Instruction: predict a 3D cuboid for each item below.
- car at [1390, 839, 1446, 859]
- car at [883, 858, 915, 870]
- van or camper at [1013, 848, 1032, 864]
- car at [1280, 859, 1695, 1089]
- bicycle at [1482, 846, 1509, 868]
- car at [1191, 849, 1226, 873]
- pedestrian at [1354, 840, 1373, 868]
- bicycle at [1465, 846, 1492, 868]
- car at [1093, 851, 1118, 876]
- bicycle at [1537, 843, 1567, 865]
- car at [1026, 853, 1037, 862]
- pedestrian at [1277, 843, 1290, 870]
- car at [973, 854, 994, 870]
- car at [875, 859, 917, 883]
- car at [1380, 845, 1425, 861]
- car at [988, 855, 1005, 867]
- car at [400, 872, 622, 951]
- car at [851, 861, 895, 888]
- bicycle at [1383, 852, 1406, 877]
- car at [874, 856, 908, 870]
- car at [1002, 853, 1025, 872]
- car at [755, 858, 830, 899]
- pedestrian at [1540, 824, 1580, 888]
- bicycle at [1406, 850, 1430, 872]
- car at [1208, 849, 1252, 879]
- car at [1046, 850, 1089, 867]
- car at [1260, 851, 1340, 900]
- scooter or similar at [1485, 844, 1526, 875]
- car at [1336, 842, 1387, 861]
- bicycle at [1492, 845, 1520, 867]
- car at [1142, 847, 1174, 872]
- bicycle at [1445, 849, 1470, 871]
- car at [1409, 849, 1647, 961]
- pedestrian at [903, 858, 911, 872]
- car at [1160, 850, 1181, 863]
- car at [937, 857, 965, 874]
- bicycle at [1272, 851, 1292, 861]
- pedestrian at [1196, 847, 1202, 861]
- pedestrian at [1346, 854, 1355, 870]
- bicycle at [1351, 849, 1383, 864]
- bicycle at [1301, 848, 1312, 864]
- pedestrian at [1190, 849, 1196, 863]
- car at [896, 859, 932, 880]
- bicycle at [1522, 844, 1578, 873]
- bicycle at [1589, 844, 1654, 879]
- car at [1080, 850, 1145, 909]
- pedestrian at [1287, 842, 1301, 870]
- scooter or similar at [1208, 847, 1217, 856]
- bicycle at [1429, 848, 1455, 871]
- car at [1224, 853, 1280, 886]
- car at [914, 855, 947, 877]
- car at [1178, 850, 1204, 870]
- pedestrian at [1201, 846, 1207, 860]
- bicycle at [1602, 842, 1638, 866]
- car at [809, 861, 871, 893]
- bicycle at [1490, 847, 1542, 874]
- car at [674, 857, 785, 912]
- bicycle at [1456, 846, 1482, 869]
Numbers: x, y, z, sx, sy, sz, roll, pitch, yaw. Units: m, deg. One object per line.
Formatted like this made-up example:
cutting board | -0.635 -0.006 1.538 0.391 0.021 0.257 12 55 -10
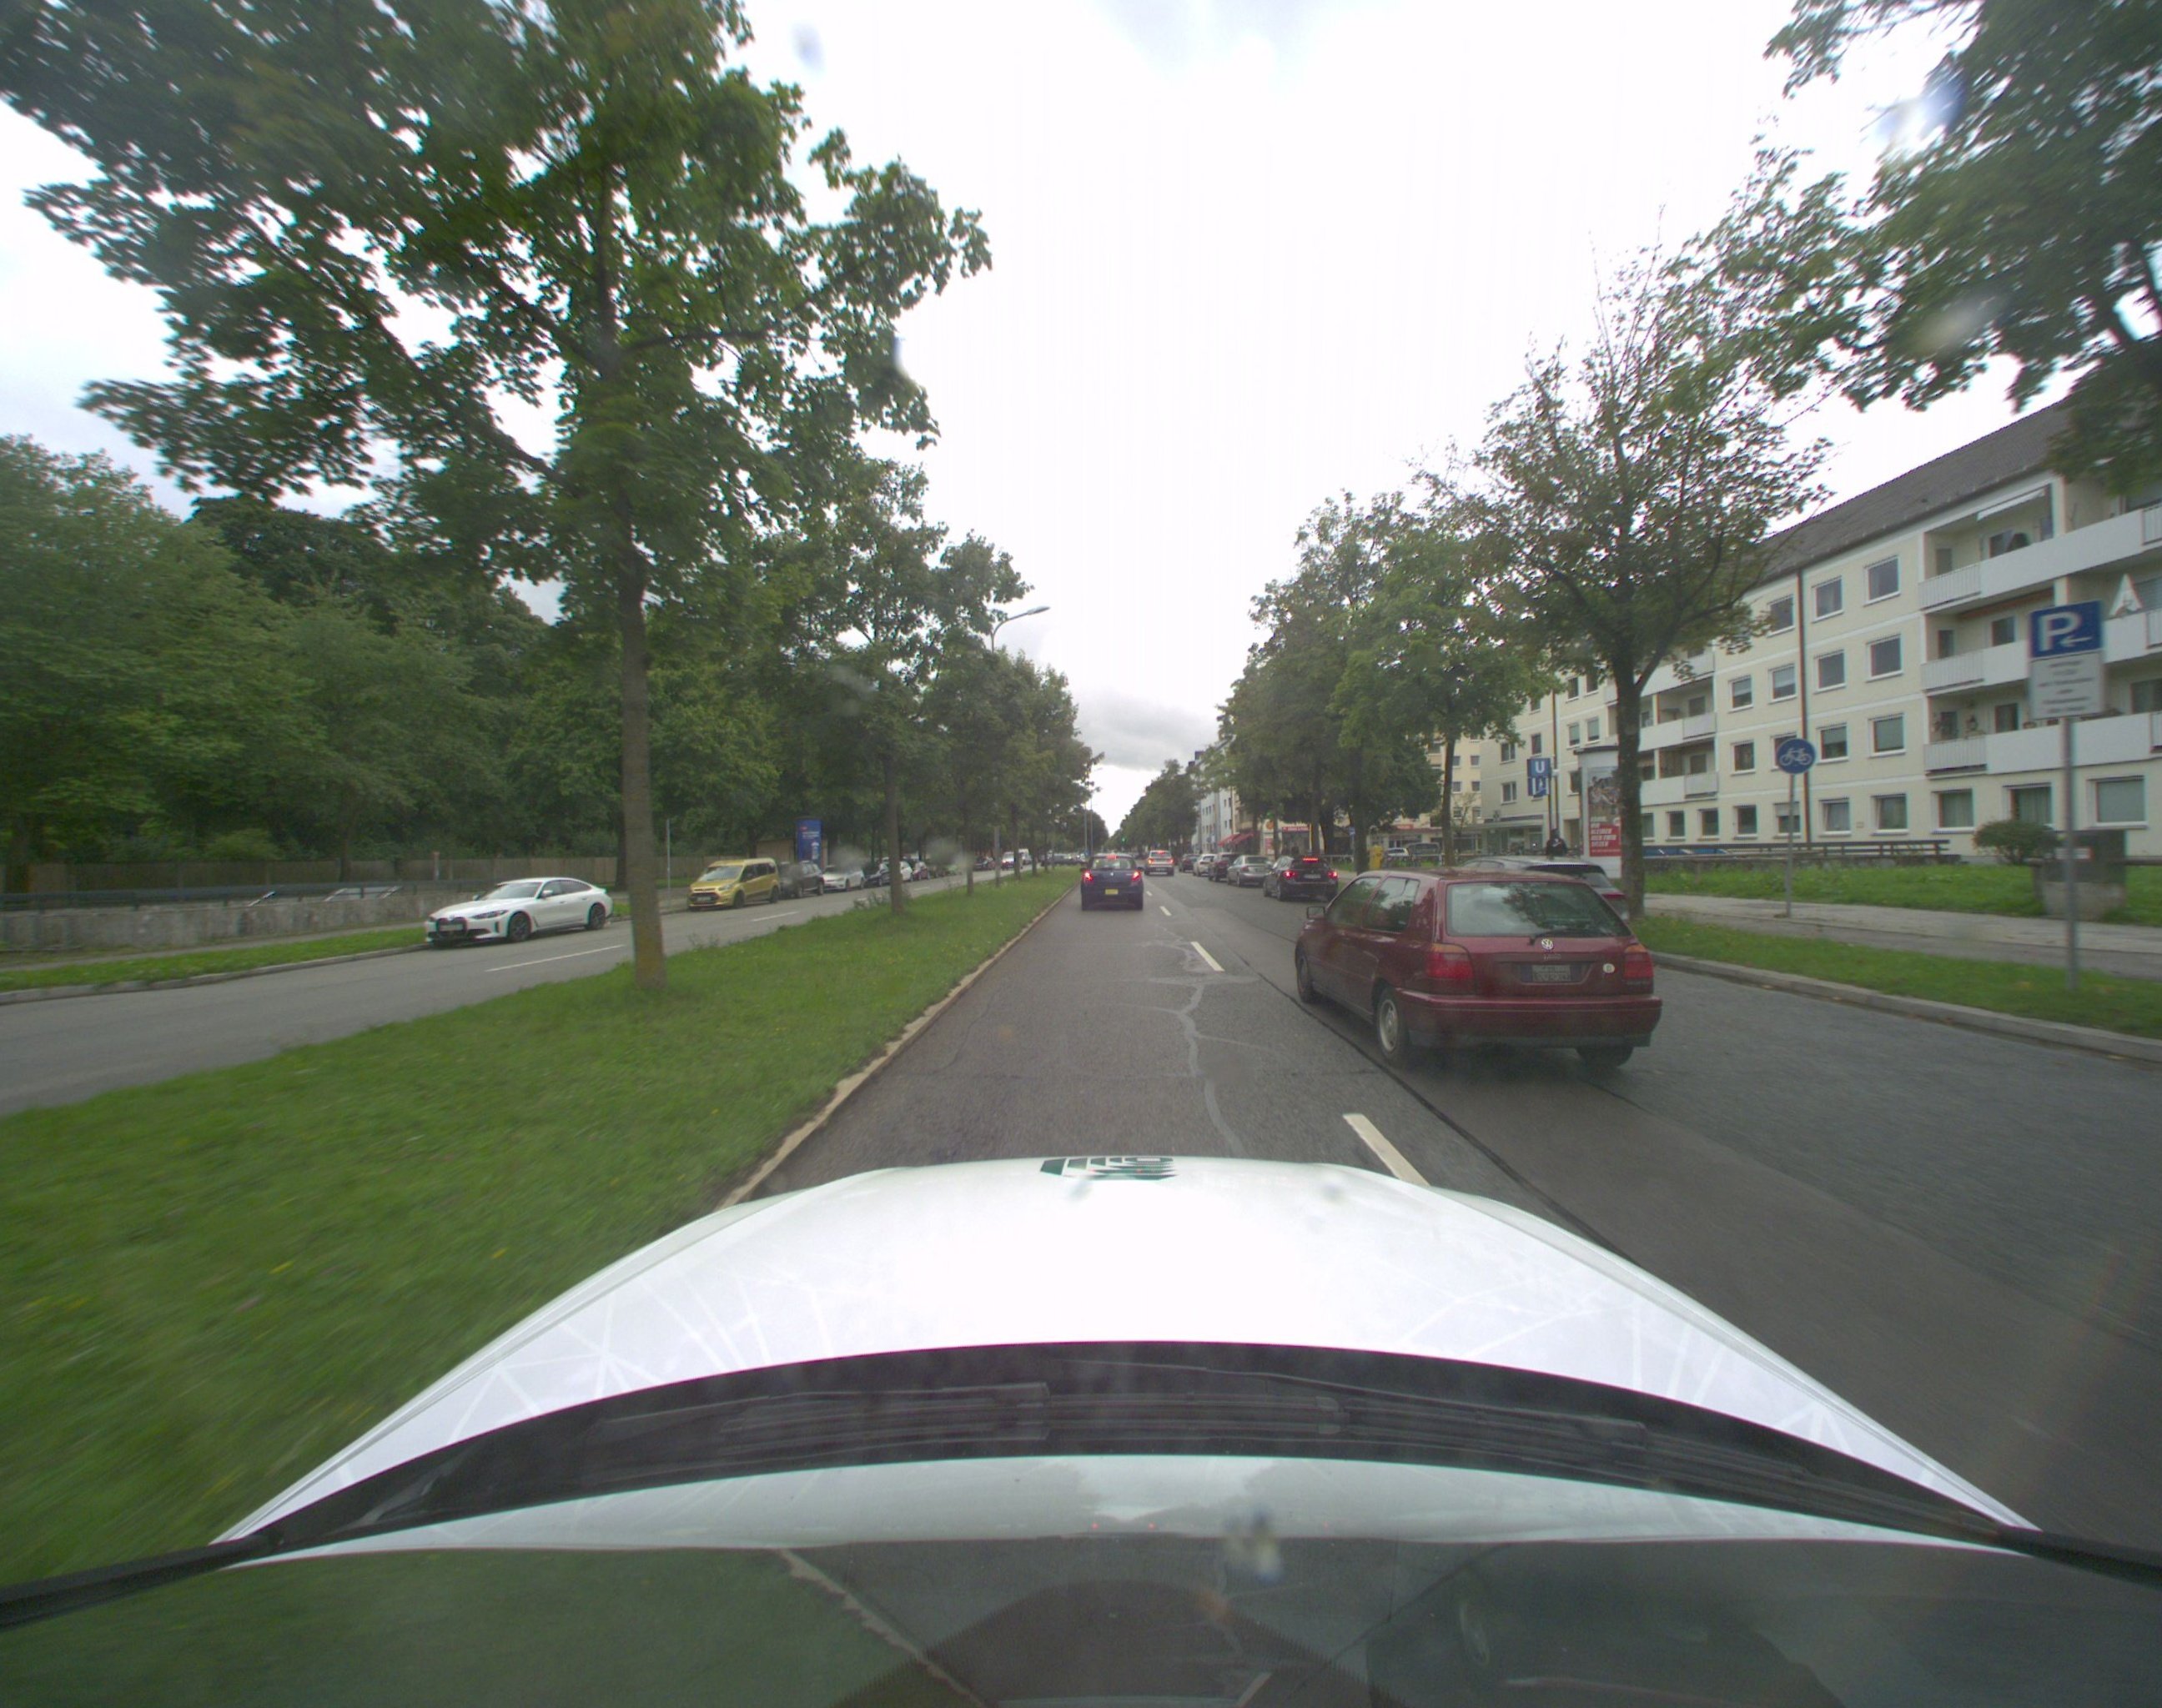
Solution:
car | 32.974 -0.460 79.759 4.719 1.773 1.872 -2 0 0
car | -23.759 1.311 106.219 3.858 1.445 1.670 0 0 -4
van or camper | -9.541 0.267 132.618 2.108 2.482 7.454 0 0 3
car | 2.984 0.748 6.978 1.676 1.383 3.919 0 0 1
bicycle | 19.873 0.131 39.083 0.429 1.028 1.885 -2 0 3
car | 8.272 0.422 53.097 1.676 1.465 4.138 1 0 1
pedestrian | 17.377 -0.022 50.110 0.835 1.681 0.835 -2 0 1
bicycle | 19.110 0.128 39.140 0.429 1.028 1.885 -2 0 3
car | 1.507 0.584 50.754 1.439 1.483 3.107 -1 0 1
bicycle | 22.479 -0.001 38.900 0.429 1.028 1.885 -2 0 3
car | -8.905 0.695 145.645 1.626 1.583 3.880 0 0 1
pedestrian | 14.066 0.174 56.543 0.586 1.890 0.902 -2 0 1
car | -10.882 0.849 90.958 1.710 1.741 3.880 0 0 1
car | -12.381 1.093 54.646 1.601 1.444 4.281 -3 0 2
car | 30.547 -0.122 77.352 3.538 1.417 1.871 -2 0 -2
car | -10.520 0.861 101.372 1.661 1.445 3.880 0 0 1
car | -13.740 1.301 20.100 1.850 1.472 4.877 -3 0 2
car | -12.387 1.168 48.715 1.608 1.417 3.897 -3 0 0
bicycle | 15.190 0.493 39.472 0.429 1.133 1.885 -2 1 3
car | -24.151 1.174 103.657 3.910 1.718 1.670 0 0 -4
car | -7.289 0.883 88.519 1.793 1.933 4.995 -3 0 1
car | -13.072 1.069 37.139 1.730 1.646 4.257 -3 0 1
pedestrian | 13.417 0.050 22.824 0.635 1.749 0.851 -3 0 10
bicycle | 16.226 0.339 39.282 0.429 1.028 1.885 -2 0 3
car | 7.772 0.481 42.799 1.710 1.533 4.278 0 0 2
car | -1.315 0.430 79.776 4.114 1.468 1.837 -1 0 -4
car | 7.082 0.631 26.718 1.743 1.465 4.180 0 0 3
scooter or similar | 16.979 0.213 32.577 0.360 1.200 1.374 -2 0 -40
car | 27.505 -0.246 80.005 4.380 1.661 1.871 -2 0 -1
bicycle | 20.355 0.099 39.028 0.429 1.028 1.885 -2 0 3
car | 5.142 0.334 54.901 1.859 1.661 4.408 0 0 1
bicycle | 18.085 0.261 39.149 0.429 1.028 1.885 -2 0 3
car | 6.705 0.659 12.778 1.675 1.465 4.118 0 0 3
pedestrian | -18.734 1.202 87.726 0.724 1.534 0.721 0 0 2
car | 10.280 0.322 94.158 1.860 1.417 4.222 -2 0 -1
car | -11.739 1.004 73.682 1.540 1.409 3.884 -3 0 5
bicycle | 20.293 0.192 82.176 1.841 0.957 0.557 0 0 0
pedestrian | 17.154 0.066 118.485 0.791 2.013 1.007 -1 0 2
pedestrian | 16.644 0.507 50.321 0.406 0.949 0.435 -2 0 1
bicycle | 18.295 0.154 52.074 1.869 0.940 0.558 0 0 3
bicycle | 16.168 0.125 58.390 0.380 1.103 1.885 0 0 3
pedestrian | 16.310 0.298 118.447 0.791 2.013 1.007 -1 0 2
car | -12.213 1.120 59.705 1.584 1.397 3.634 -3 0 4
bicycle | 17.791 0.172 30.919 1.872 1.028 0.432 -2 0 -2
bicycle | 17.250 0.231 26.009 1.875 1.028 0.432 -2 0 -6
car | 0.852 0.661 23.150 1.676 1.502 3.920 -1 0 1
pedestrian | 14.776 0.150 56.522 0.727 1.890 0.919 -2 0 1
scooter or similar | 19.453 -0.372 120.401 1.028 1.307 2.757 -1 0 3
bicycle | 17.390 0.251 39.263 0.429 1.101 1.885 -2 0 3
car | 7.678 0.658 36.976 1.631 1.386 4.243 0 0 -1
car | -12.035 0.964 65.494 1.684 1.586 4.372 -3 0 1
car | 8.585 0.459 63.654 1.611 1.465 3.676 0 0 2
pedestrian | 18.003 -0.101 118.958 0.791 2.013 1.007 -1 0 2
bicycle | 24.206 -0.013 36.588 0.429 1.028 1.885 -2 0 3
car | -12.805 1.172 43.526 1.756 1.449 4.534 -3 0 2
bicycle | 17.764 0.261 33.284 1.872 1.028 0.432 -2 0 -2
car | -13.110 1.066 30.745 1.807 1.783 4.821 -3 0 3
bicycle | 18.628 0.157 39.122 0.429 1.028 1.885 -2 0 3
